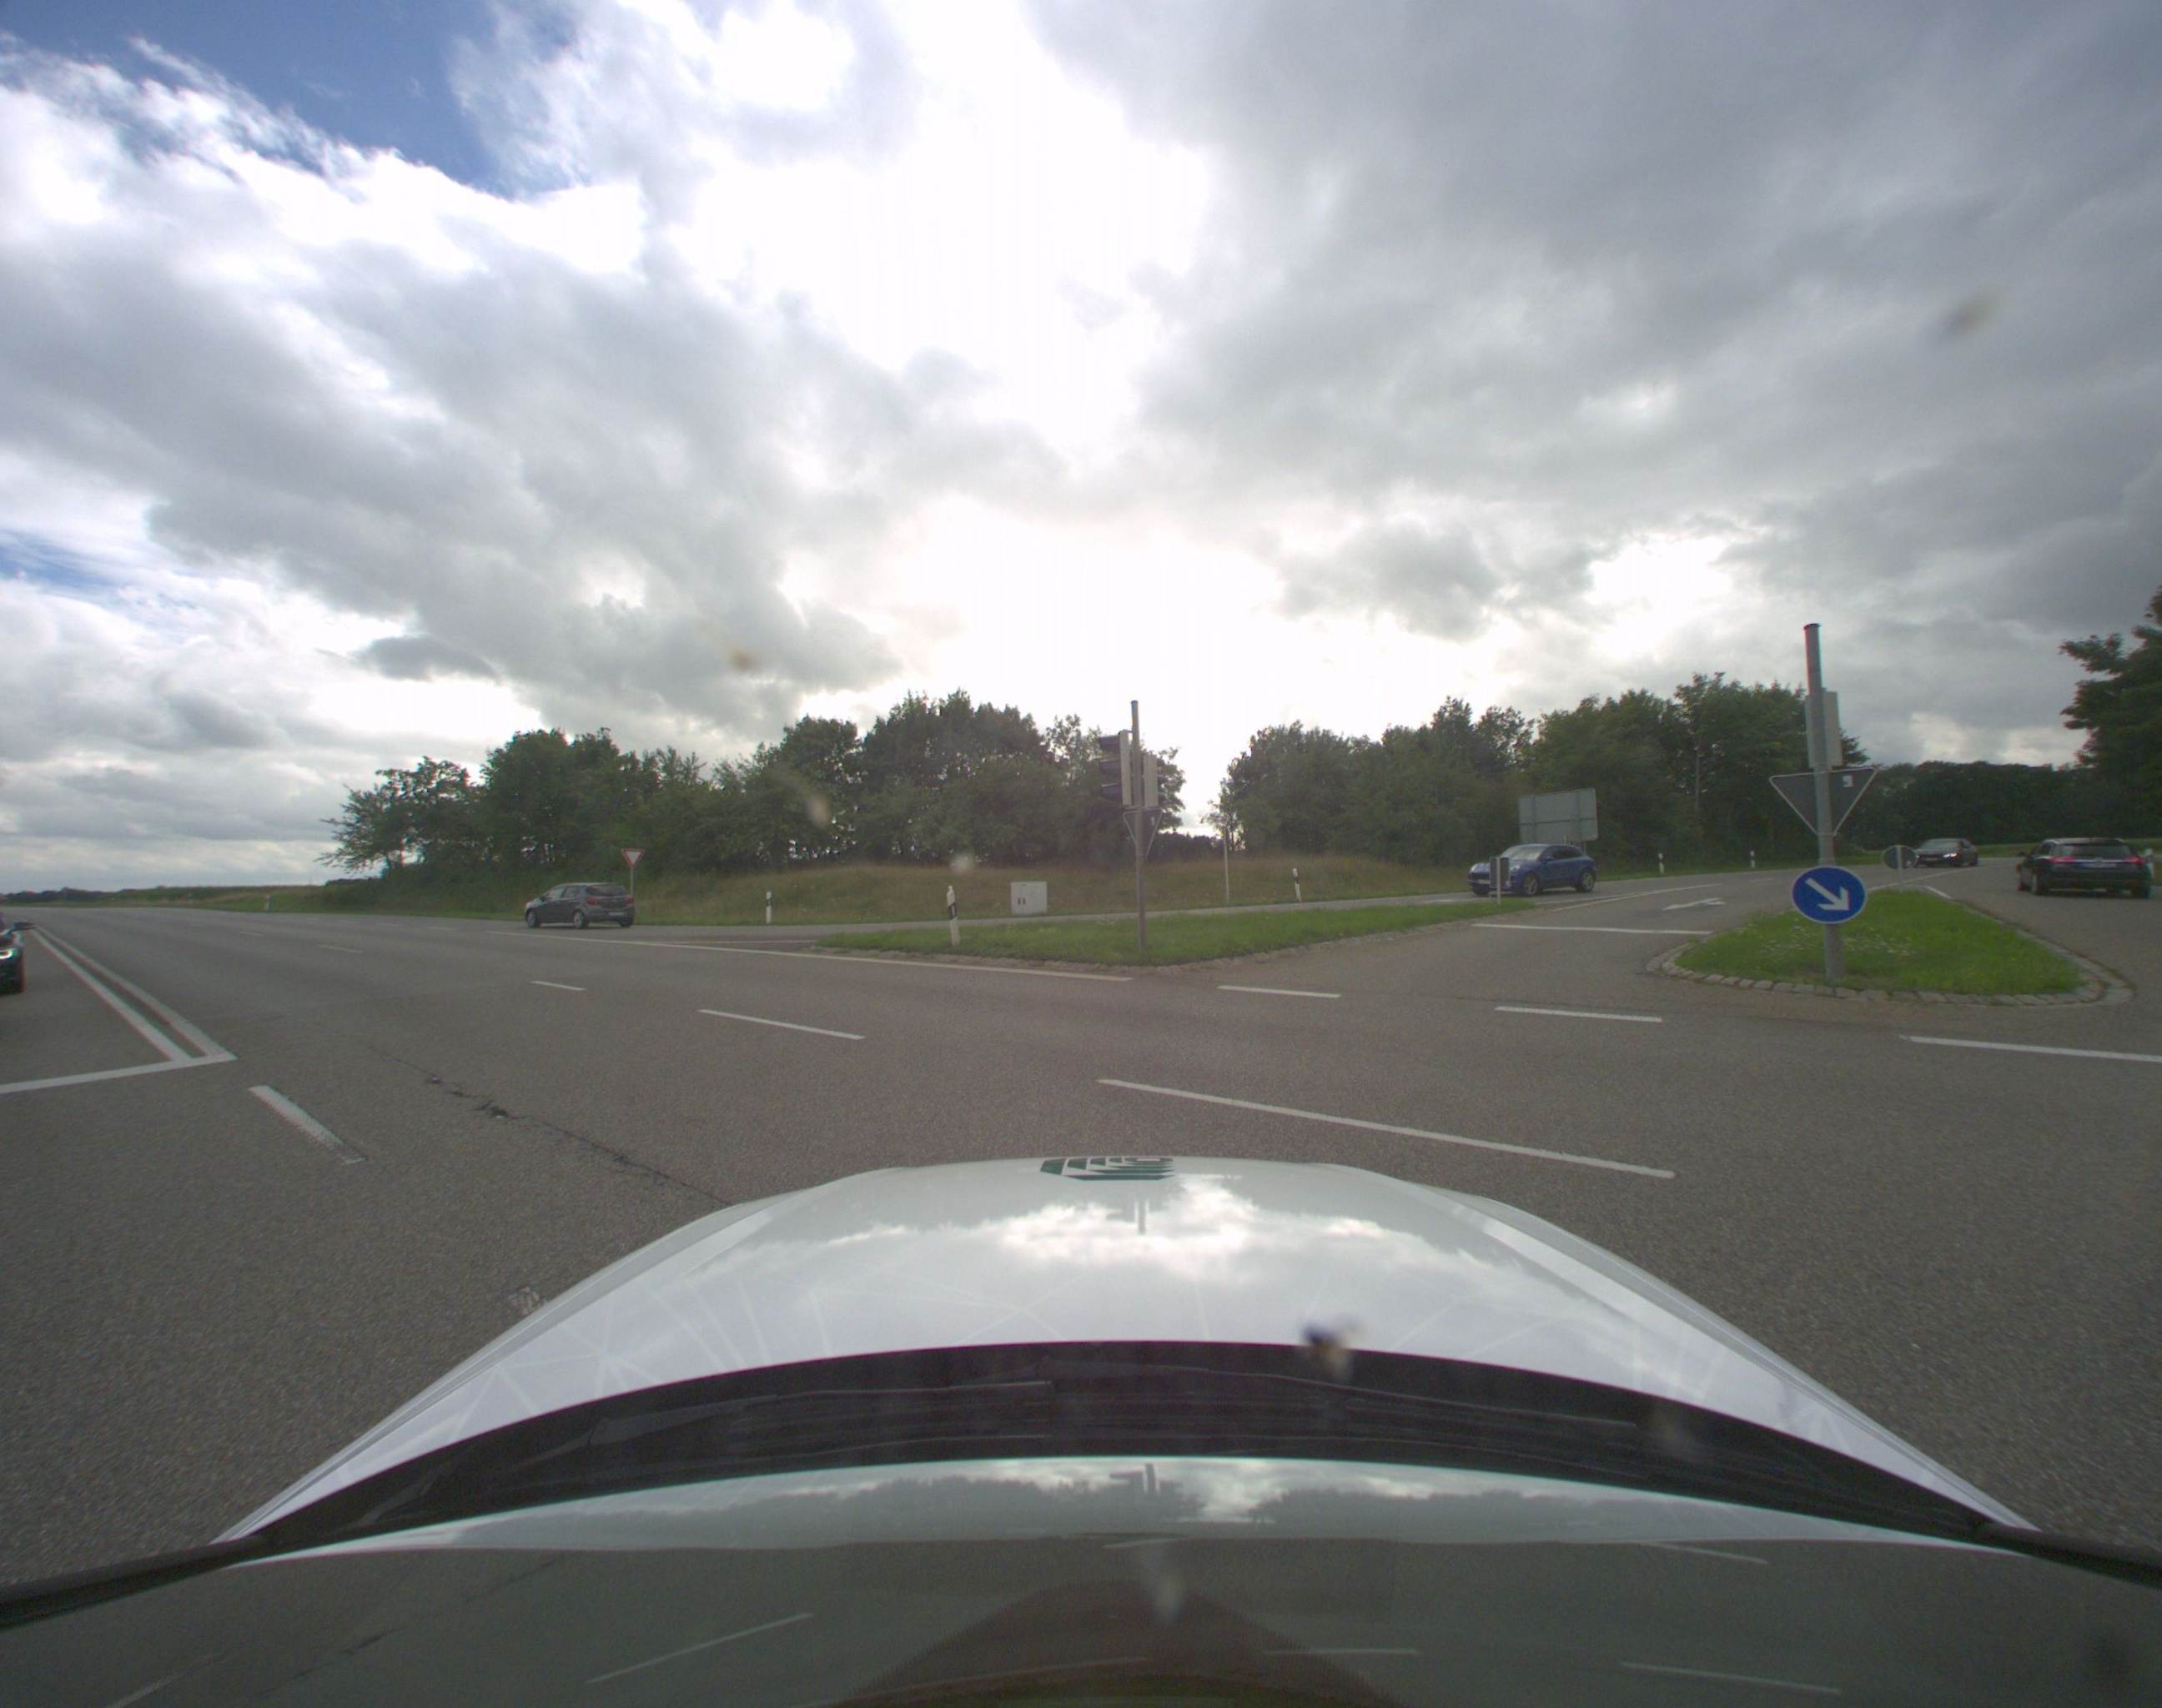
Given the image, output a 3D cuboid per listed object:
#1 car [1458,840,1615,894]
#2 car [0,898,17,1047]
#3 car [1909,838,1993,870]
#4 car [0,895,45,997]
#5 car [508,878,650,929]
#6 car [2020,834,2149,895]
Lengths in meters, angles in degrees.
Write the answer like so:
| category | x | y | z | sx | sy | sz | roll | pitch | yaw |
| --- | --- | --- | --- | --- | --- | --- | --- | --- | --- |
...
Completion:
| category | x | y | z | sx | sy | sz | roll | pitch | yaw |
| --- | --- | --- | --- | --- | --- | --- | --- | --- | --- |
| car | 14.676 | 0.384 | 26.217 | 4.765 | 1.570 | 1.983 | -1 | -1 | -26 |
| car | -12.739 | 1.244 | 8.607 | 3.893 | 1.443 | 1.742 | -2 | -1 | 38 |
| car | 44.993 | -0.002 | 42.095 | 4.681 | 1.503 | 1.981 | -1 | -1 | -30 |
| car | -18.306 | 1.461 | 12.976 | 4.818 | 1.484 | 2.068 | -2 | 0 | 37 |
| car | -16.338 | 1.596 | 26.538 | 3.951 | 1.535 | 2.011 | -2 | -2 | 23 |
| car | 25.977 | 0.239 | 21.215 | 4.296 | 1.451 | 1.791 | -1 | -1 | -43 |
